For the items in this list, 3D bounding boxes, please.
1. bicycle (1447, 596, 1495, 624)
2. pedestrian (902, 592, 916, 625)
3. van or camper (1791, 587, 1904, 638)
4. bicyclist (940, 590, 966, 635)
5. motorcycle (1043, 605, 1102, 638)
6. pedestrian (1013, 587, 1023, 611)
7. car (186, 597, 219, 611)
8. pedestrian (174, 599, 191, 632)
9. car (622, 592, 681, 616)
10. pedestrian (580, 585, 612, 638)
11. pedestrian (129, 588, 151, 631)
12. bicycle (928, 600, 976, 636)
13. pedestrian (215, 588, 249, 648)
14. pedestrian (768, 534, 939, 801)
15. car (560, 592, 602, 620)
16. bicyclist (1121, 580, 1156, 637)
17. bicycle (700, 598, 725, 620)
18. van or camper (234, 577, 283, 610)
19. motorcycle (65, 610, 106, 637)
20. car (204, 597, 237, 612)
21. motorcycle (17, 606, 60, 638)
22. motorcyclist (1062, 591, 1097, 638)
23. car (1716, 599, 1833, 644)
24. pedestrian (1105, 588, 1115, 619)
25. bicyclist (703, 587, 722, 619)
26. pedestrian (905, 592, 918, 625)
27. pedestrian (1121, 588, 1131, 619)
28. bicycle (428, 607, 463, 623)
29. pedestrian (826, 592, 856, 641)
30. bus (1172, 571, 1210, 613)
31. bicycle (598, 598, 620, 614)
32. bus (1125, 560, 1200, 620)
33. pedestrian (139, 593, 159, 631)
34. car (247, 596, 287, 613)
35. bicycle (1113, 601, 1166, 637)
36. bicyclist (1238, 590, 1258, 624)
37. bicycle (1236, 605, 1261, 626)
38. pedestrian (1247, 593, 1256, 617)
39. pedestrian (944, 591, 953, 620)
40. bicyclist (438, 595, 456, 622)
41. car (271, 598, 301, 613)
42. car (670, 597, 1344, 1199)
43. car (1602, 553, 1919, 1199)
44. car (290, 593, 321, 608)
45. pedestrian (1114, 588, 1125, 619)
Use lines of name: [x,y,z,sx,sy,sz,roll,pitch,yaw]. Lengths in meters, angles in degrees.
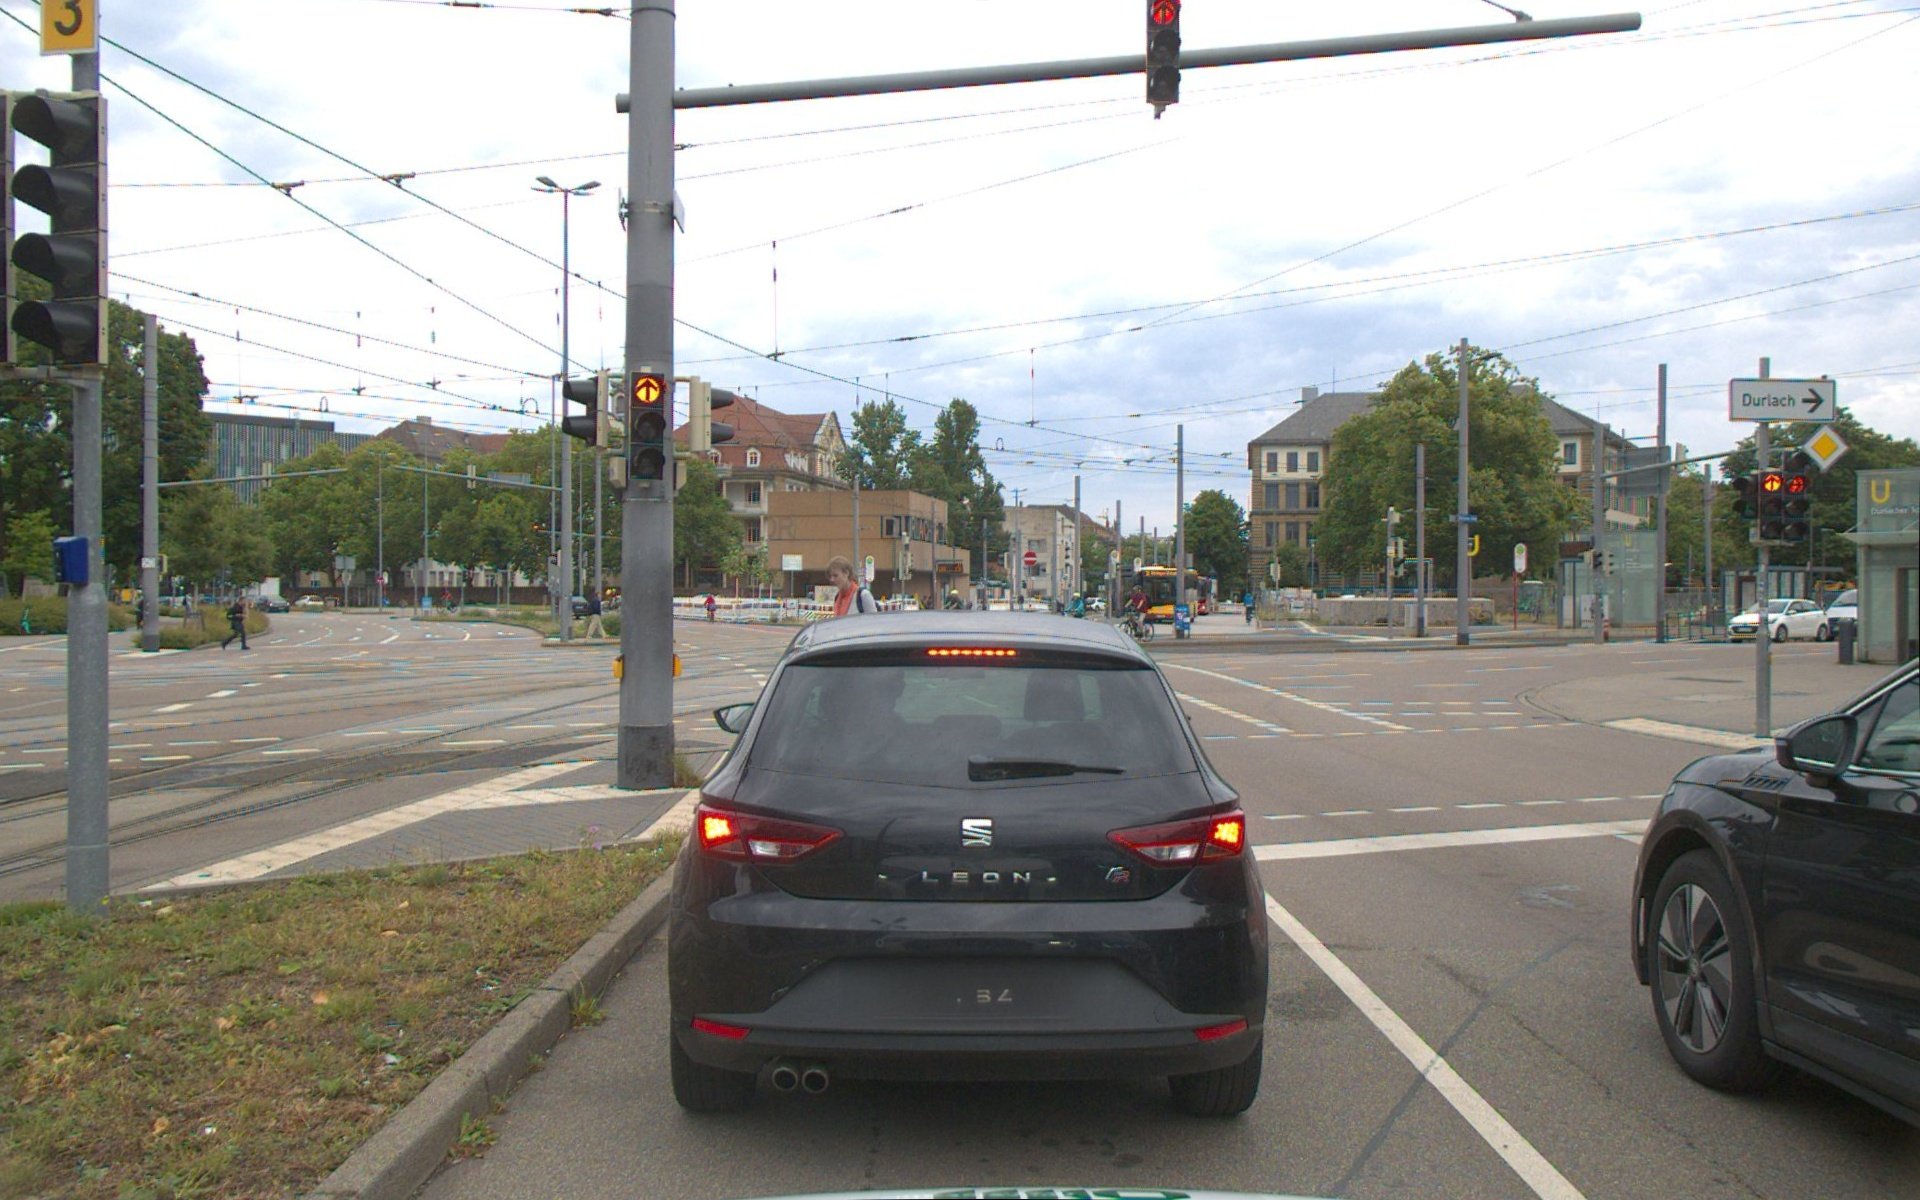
bicycle: [25.530,0.489,82.634,2.214,1.354,0.707,-1,-1,6]
pedestrian: [-2.985,0.490,96.518,0.693,1.951,0.624,0,0,7]
van or camper: [32.119,0.463,59.838,4.257,1.773,1.974,0,-1,-36]
bicyclist: [-0.251,0.482,63.207,0.841,1.702,0.651,0,0,-18]
motorcycle: [3.999,0.758,58.789,2.115,1.159,0.735,0,0,-34]
pedestrian: [4.889,-0.081,139.978,0.609,1.952,0.710,-1,-1,25]
car: [-80.690,0.431,176.158,3.926,1.489,1.772,1,1,41]
pedestrian: [-48.447,0.973,103.045,0.865,2.016,0.791,0,-1,-19]
car: [-22.865,0.307,122.674,3.905,1.713,2.000,0,-1,0]
pedestrian: [-13.462,0.420,61.195,1.015,1.968,0.695,0,0,-26]
pedestrian: [-39.094,0.451,78.848,0.787,2.016,0.870,1,-2,-35]
bicycle: [-0.309,0.683,63.191,1.703,1.345,0.642,0,0,-18]
pedestrian: [-25.084,0.623,56.993,1.006,2.049,0.841,0,0,-20]
pedestrian: [-0.806,0.495,12.664,1.096,1.940,0.724,1,-1,-44]
car: [-23.942,0.383,104.388,1.966,1.713,3.973,0,-1,-22]
bicyclist: [6.100,0.295,56.602,0.764,1.931,0.990,0,0,43]
bicycle: [-13.834,0.515,92.337,0.879,1.199,2.286,0,0,-22]
van or camper: [-69.240,-0.619,163.191,5.403,3.179,2.382,0,0,41]
motorcycle: [-36.973,0.983,69.944,0.499,1.130,1.746,0,0,12]
car: [-75.349,0.439,168.557,3.932,1.489,1.770,1,1,44]
motorcycle: [-37.892,0.881,68.002,0.503,1.290,1.463,0,0,43]
motorcyclist: [4.264,0.509,58.967,0.968,1.678,0.741,0,-1,-34]
car: [27.499,0.727,55.834,3.948,1.490,1.756,0,-1,-32]
pedestrian: [9.474,0.199,104.287,0.608,1.951,0.699,0,0,9]
bicyclist: [-13.809,0.175,92.237,0.870,1.762,0.888,0,0,-22]
pedestrian: [-2.868,0.503,97.315,0.693,1.951,0.624,0,0,7]
pedestrian: [10.509,0.191,104.759,0.608,1.951,0.699,0,0,9]
bicycle: [-39.598,1.155,127.236,0.921,1.199,2.726,0,0,28]
pedestrian: [-4.802,0.657,66.830,0.687,1.968,1.026,0,0,38]
bus: [19.165,-0.661,136.959,2.597,3.340,11.004,0,0,10]
bicycle: [-27.161,0.470,127.985,0.427,1.258,1.817,-2,-2,42]
bus: [11.561,-0.527,93.631,2.897,3.178,11.548,0,0,14]
pedestrian: [-43.046,0.647,87.792,0.787,2.016,0.870,1,-2,-35]
car: [-59.603,0.384,142.284,3.930,1.489,1.770,0,0,43]
bicycle: [6.144,0.643,56.632,0.764,1.205,2.019,0,0,43]
bicyclist: [16.198,0.402,93.027,0.854,1.884,1.046,0,0,-6]
bicycle: [16.209,0.866,92.963,0.849,1.124,2.299,0,0,-5]
pedestrian: [24.706,0.393,140.253,0.648,2.049,0.691,0,0,-1]
pedestrian: [-0.790,0.376,112.355,0.608,1.951,0.711,0,0,2]
bicyclist: [-39.509,0.671,127.309,0.919,2.049,0.977,0,0,28]
car: [-69.017,0.587,169.435,1.765,1.489,3.942,0,1,-40]
car: [-0.020,0.732,5.977,1.671,1.474,3.808,0,0,-5]
car: [3.267,0.701,3.768,1.741,1.625,4.508,0,0,-2]
car: [-63.779,0.041,161.209,1.764,1.489,3.945,0,1,-39]
pedestrian: [10.179,0.211,105.549,0.608,1.951,0.711,0,0,2]
